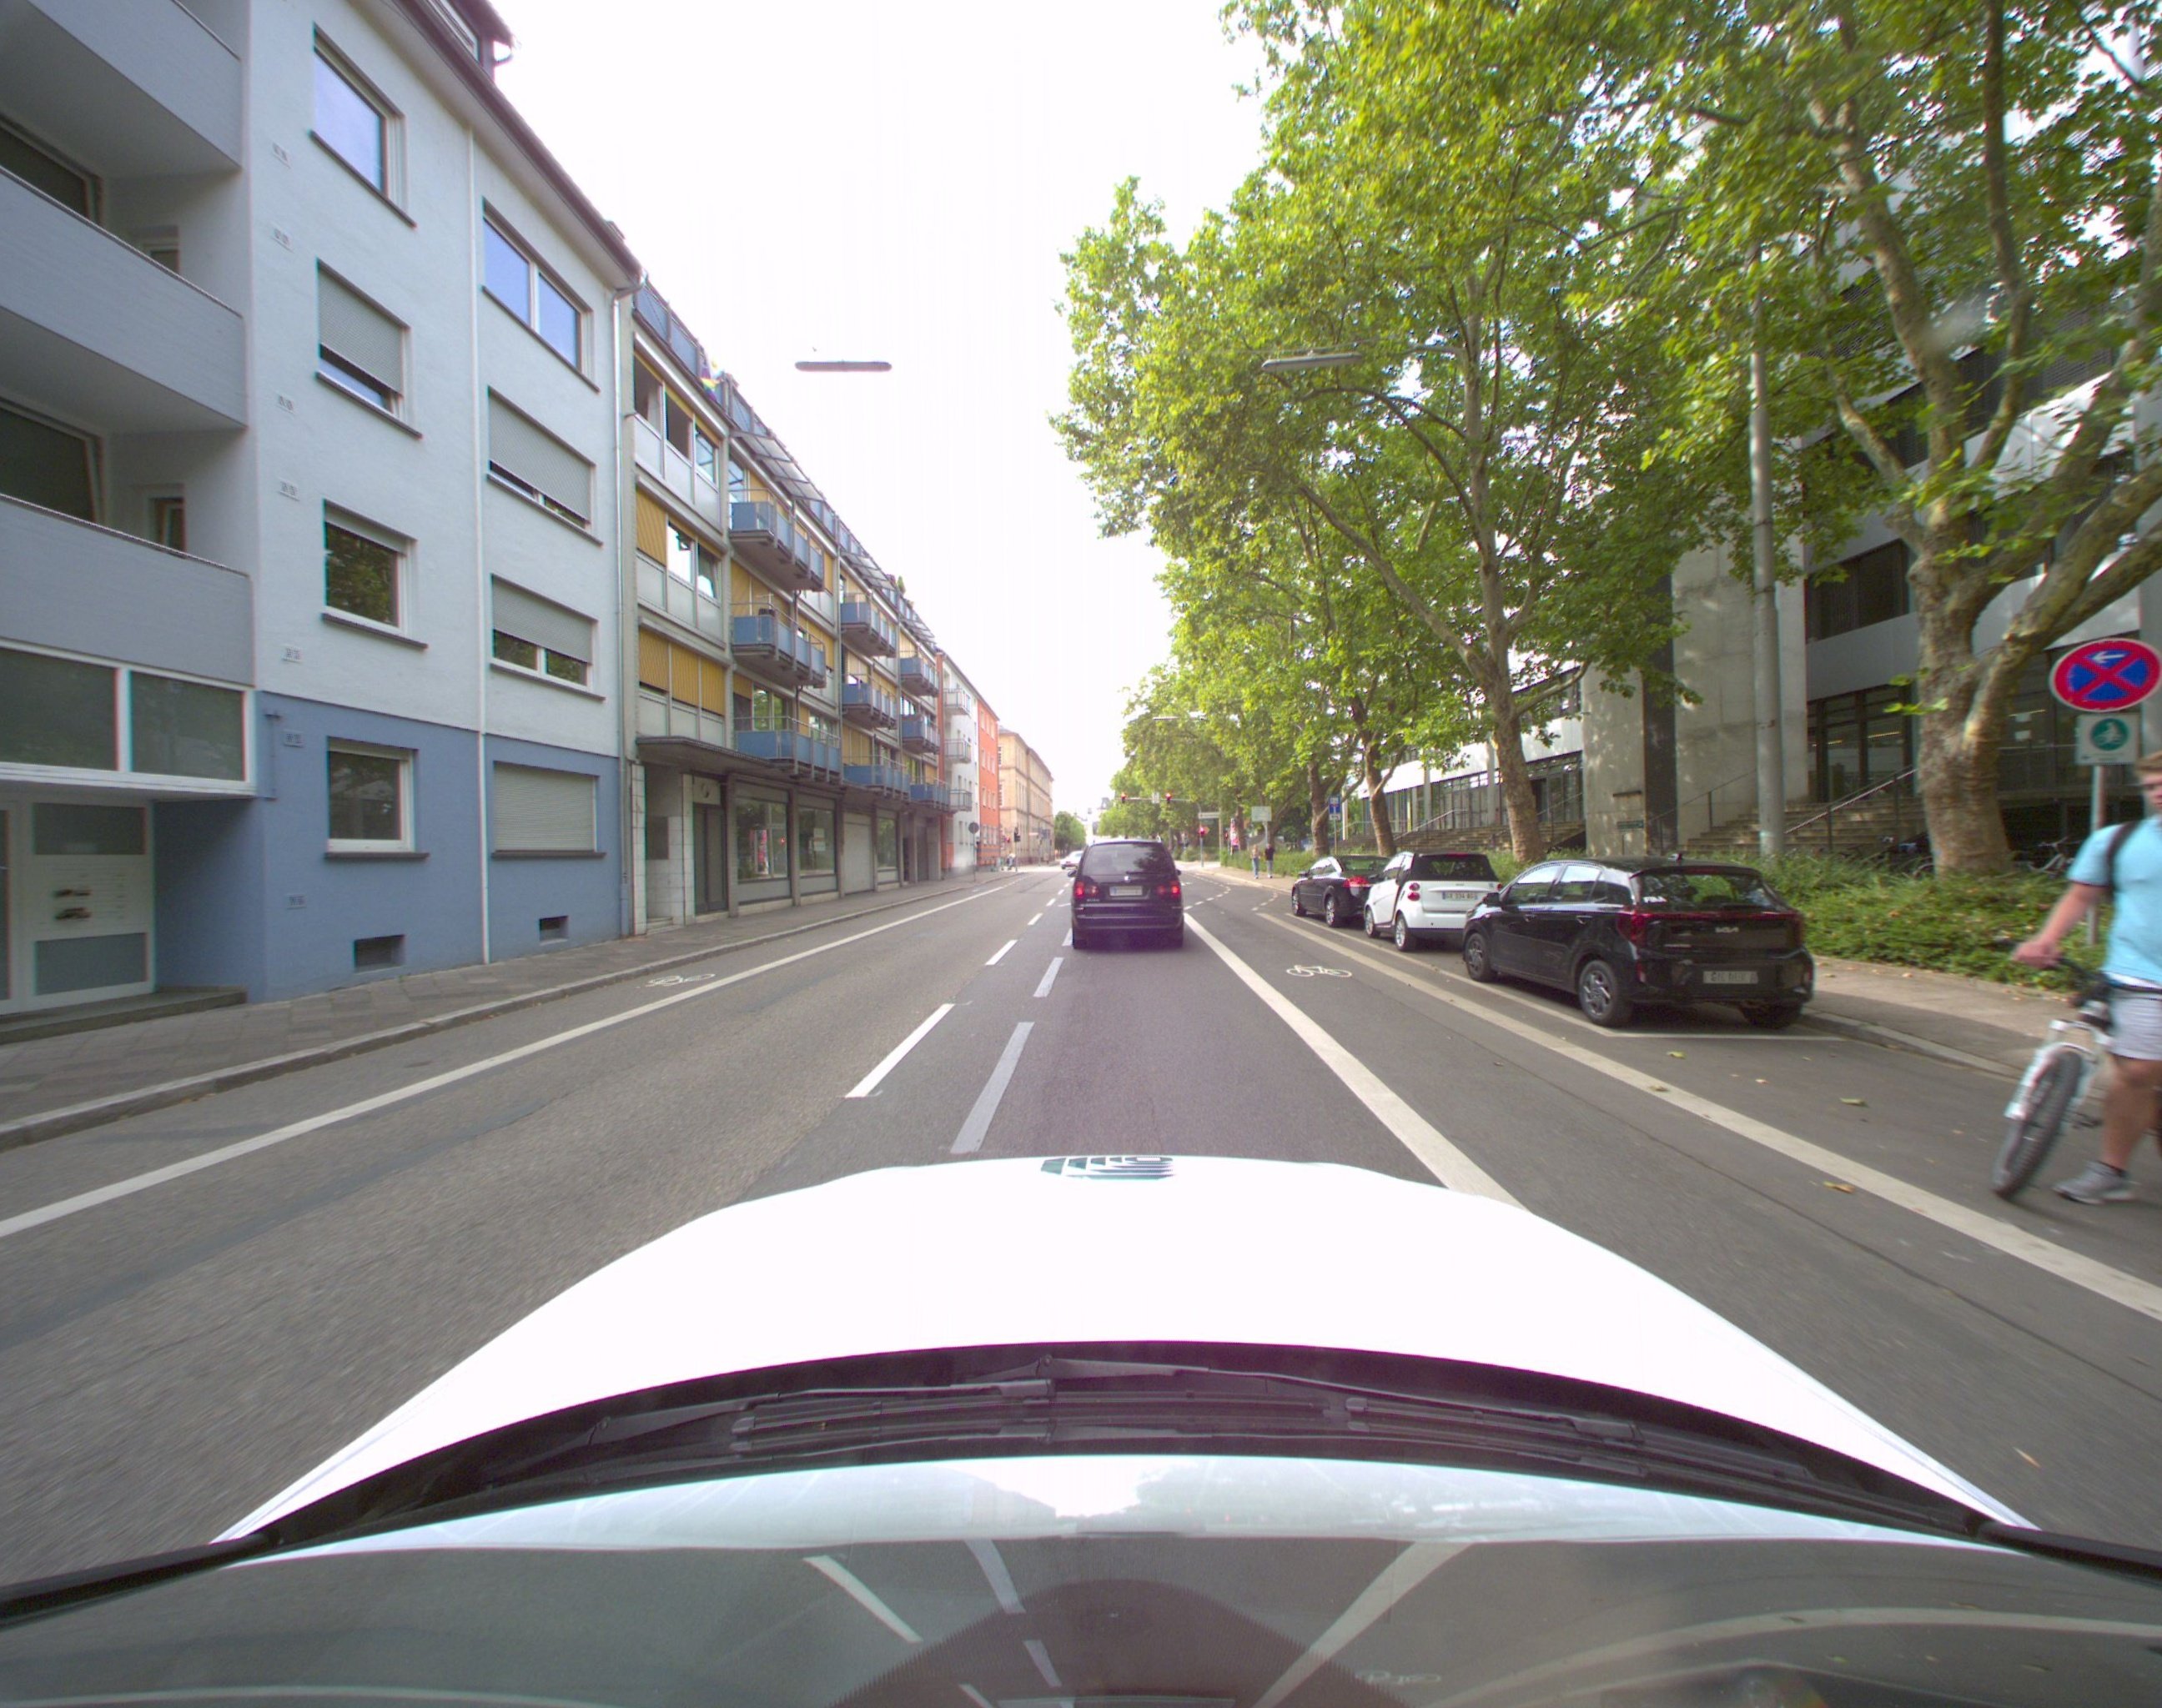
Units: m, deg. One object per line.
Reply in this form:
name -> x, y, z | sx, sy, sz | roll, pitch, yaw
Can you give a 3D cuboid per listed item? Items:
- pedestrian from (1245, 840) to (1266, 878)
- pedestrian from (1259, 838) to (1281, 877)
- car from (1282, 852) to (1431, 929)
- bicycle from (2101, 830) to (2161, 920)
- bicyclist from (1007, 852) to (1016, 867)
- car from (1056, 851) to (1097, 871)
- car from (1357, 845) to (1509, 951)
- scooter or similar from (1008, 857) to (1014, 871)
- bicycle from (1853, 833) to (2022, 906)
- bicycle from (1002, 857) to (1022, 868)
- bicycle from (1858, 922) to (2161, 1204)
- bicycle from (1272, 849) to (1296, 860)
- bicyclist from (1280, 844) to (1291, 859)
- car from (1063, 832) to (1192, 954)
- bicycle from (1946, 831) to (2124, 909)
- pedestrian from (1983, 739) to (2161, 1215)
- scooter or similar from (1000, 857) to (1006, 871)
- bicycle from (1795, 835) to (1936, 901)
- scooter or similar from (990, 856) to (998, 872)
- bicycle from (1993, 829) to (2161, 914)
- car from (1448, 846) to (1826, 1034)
pedestrian -> 8.358, 0.230, 39.105 | 0.708, 1.783, 1.034 | -3, -1, 1
pedestrian -> 9.080, 0.177, 39.111 | 0.712, 1.800, 1.034 | -3, -1, 1
car -> 5.678, 0.681, 17.387 | 1.692, 1.425, 4.421 | 0, 0, 0
bicycle -> 14.657, 0.236, 10.580 | 1.907, 1.117, 0.673 | -2, 0, 1
bicyclist -> -6.826, 0.504, 80.002 | 0.915, 1.466, 0.568 | 0, 0, -11
car -> -0.348, 0.549, 67.991 | 1.741, 1.427, 4.123 | -3, 0, 26
car -> 5.604, 0.634, 13.258 | 1.528, 1.543, 2.603 | 0, 0, 5
scooter or similar -> -5.807, 0.796, 67.601 | 0.377, 1.144, 1.141 | -1, -1, -1
bicycle -> 14.413, 0.249, 13.742 | 2.071, 1.117, 0.673 | -2, 0, 1
bicycle -> -6.767, 0.805, 80.016 | 1.925, 1.028, 0.581 | 0, 0, -11
bicycle -> 4.685, 0.915, 3.842 | 1.734, 1.105, 0.550 | 0, 0, -9
bicycle -> 20.436, 0.056, 82.045 | 2.228, 1.094, 0.627 | -1, 0, -3
bicyclist -> 20.554, -0.295, 82.046 | 0.912, 1.493, 0.626 | -1, 0, -2
car -> 0.742, 0.558, 14.243 | 1.867, 1.745, 4.575 | -1, 0, 1
bicycle -> 14.827, 0.241, 12.688 | 1.907, 1.117, 0.673 | -2, 0, 1
pedestrian -> 4.597, 0.499, 3.557 | 0.474, 1.934, 0.742 | 0, 0, -9
scooter or similar -> -6.422, 0.811, 67.186 | 0.377, 1.147, 1.141 | -1, -1, -1
bicycle -> 14.492, 0.252, 15.077 | 1.907, 1.117, 0.673 | -2, 0, 1
scooter or similar -> -6.502, 0.748, 60.967 | 0.376, 1.184, 1.390 | -1, -1, 2
bicycle -> 14.438, 0.242, 11.674 | 1.907, 1.117, 0.673 | -2, 0, 1
car -> 5.295, 0.682, 8.384 | 1.522, 1.502, 3.662 | 0, 0, 2
